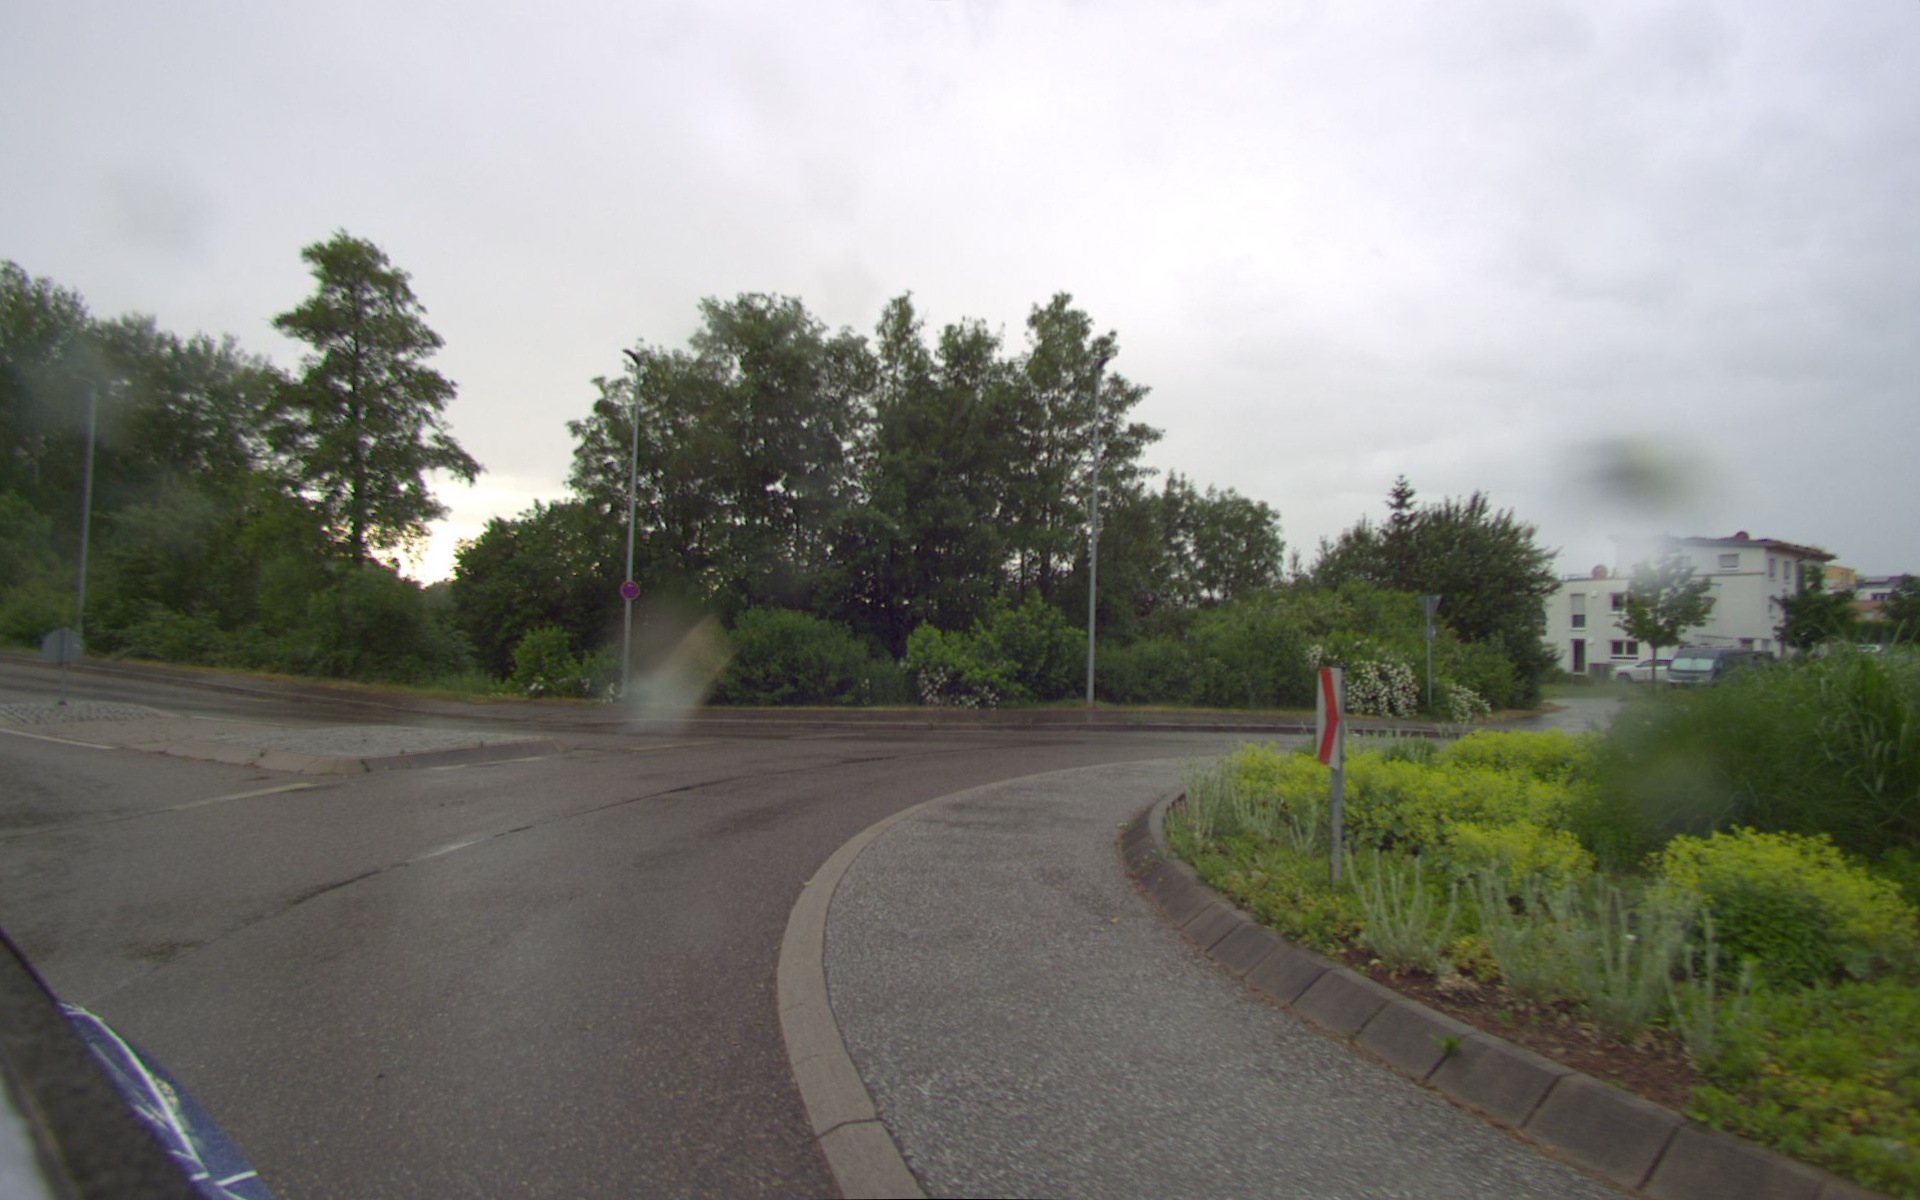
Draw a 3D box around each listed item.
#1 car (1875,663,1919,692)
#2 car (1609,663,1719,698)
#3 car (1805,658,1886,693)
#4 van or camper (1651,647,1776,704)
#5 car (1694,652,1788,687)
[{"bbox_3d":[57.612,4.714,61.841,3.515,1.670,1.690,3,-3,-33],"label":"car"},{"bbox_3d":[39.529,4.510,56.954,1.987,1.761,4.683,3,-4,-34],"label":"car"},{"bbox_3d":[57.380,4.888,65.626,1.727,2.029,3.723,5,-3,-39],"label":"car"},{"bbox_3d":[35.764,3.548,48.020,6.101,2.512,2.539,3,-3,-30],"label":"van or camper"},{"bbox_3d":[47.447,4.197,61.538,1.762,1.855,4.221,5,-3,-39],"label":"car"}]
